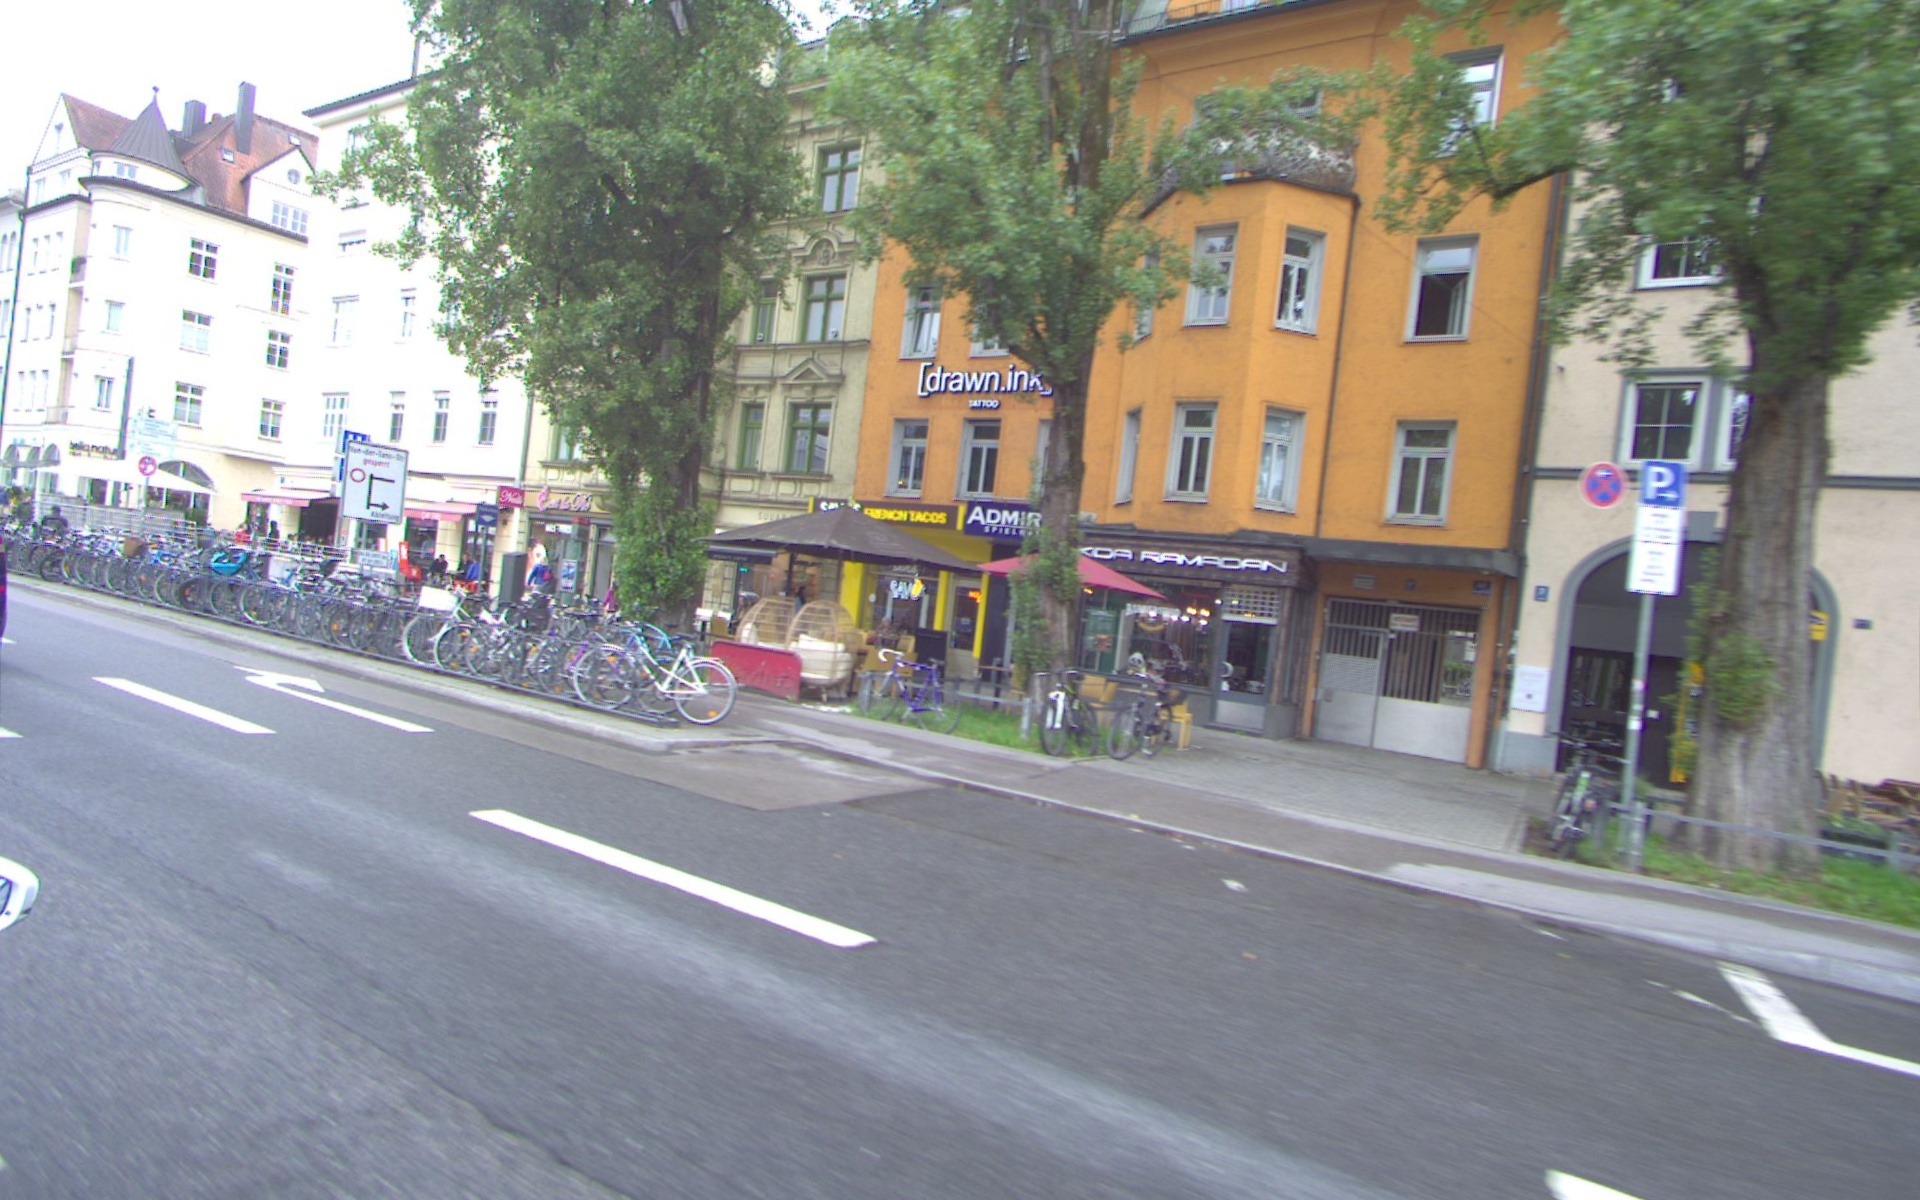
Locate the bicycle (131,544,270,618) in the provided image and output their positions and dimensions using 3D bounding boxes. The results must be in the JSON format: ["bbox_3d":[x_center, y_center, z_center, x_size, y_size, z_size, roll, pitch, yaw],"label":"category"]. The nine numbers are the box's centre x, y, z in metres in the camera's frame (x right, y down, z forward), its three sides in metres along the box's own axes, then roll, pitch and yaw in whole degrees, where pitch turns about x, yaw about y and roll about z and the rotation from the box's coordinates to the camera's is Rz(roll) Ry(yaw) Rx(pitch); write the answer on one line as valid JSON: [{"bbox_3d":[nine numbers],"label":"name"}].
[{"bbox_3d":[-13.168,-0.319,17.479,1.818,1.008,0.323,9,0,-22],"label":"bicycle"}]

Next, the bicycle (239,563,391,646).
[{"bbox_3d":[-9.772,0.078,15.295,1.817,1.008,0.323,9,0,-21],"label":"bicycle"}]

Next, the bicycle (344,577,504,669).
[{"bbox_3d":[-7.367,0.321,13.904,1.817,1.008,0.373,9,0,-21],"label":"bicycle"}]

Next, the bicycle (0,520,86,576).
[{"bbox_3d":[-19.762,-1.114,21.342,1.813,1.008,0.347,6,1,-15],"label":"bicycle"}]

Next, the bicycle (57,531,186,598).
[{"bbox_3d":[-16.071,-0.669,19.312,1.816,1.008,0.324,9,1,-19],"label":"bicycle"}]

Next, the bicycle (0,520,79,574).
[{"bbox_3d":[-20.296,-1.175,21.763,1.815,1.008,0.346,6,1,-19],"label":"bicycle"}]

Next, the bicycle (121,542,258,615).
[{"bbox_3d":[-13.636,-0.371,17.847,1.818,1.008,0.323,9,0,-22],"label":"bicycle"}]

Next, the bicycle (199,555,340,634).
[{"bbox_3d":[-11.152,-0.080,16.285,1.812,1.008,0.324,9,1,-11],"label":"bicycle"}]

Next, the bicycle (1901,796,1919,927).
[{"bbox_3d":[8.365,2.164,7.624,1.626,0.977,0.589,7,0,32],"label":"bicycle"}]

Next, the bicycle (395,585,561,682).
[{"bbox_3d":[-6.263,0.449,13.156,1.817,1.008,0.373,9,0,-20],"label":"bicycle"}]

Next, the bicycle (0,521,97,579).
[{"bbox_3d":[-19.181,-1.047,20.944,1.813,1.008,0.347,6,1,-15],"label":"bicycle"}]

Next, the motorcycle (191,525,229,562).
[{"bbox_3d":[-27.181,-2.043,36.454,1.545,1.171,0.487,7,0,32],"label":"motorcycle"}]

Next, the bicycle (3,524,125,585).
[{"bbox_3d":[-18.036,-0.911,20.277,1.812,1.008,0.347,6,1,-14],"label":"bicycle"}]

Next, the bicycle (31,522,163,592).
[{"bbox_3d":[-16.761,-0.828,19.579,1.819,1.126,0.464,7,1,-26],"label":"bicycle"}]

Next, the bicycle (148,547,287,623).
[{"bbox_3d":[-12.589,-0.252,17.092,1.815,1.008,0.324,9,1,-16],"label":"bicycle"}]

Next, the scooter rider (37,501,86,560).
[{"bbox_3d":[-23.389,-1.814,26.181,0.632,1.406,0.701,7,1,30],"label":"scooter rider"}]

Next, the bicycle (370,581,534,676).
[{"bbox_3d":[-6.776,0.389,13.485,1.814,1.008,0.374,9,1,-14],"label":"bicycle"}]

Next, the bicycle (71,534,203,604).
[{"bbox_3d":[-15.110,-0.565,18.499,1.813,1.008,0.324,9,1,-14],"label":"bicycle"}]

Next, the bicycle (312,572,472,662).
[{"bbox_3d":[-7.951,0.248,14.141,1.817,1.008,0.373,9,0,-21],"label":"bicycle"}]

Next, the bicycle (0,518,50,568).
[{"bbox_3d":[-21.559,-1.328,22.441,1.815,1.008,0.346,6,1,-19],"label":"bicycle"}]

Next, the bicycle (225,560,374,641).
[{"bbox_3d":[-10.265,0.023,15.692,1.820,1.008,0.323,9,0,-27],"label":"bicycle"}]

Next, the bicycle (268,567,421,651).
[{"bbox_3d":[-9.148,0.147,15.004,1.825,1.008,0.372,9,0,-35],"label":"bicycle"}]

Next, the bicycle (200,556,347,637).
[{"bbox_3d":[-10.855,-0.051,15.948,1.815,1.008,0.324,9,1,-16],"label":"bicycle"}]

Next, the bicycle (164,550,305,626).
[{"bbox_3d":[-12.070,-0.192,16.780,1.815,1.008,0.324,9,1,-16],"label":"bicycle"}]

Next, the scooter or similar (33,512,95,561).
[{"bbox_3d":[-23.319,-1.654,26.181,1.235,1.088,0.776,7,1,30],"label":"scooter or similar"}]

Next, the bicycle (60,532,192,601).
[{"bbox_3d":[-15.652,-0.626,18.914,1.816,1.008,0.324,9,1,-19],"label":"bicycle"}]

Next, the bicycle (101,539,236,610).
[{"bbox_3d":[-14.295,-0.450,18.209,1.818,1.008,0.323,9,0,-22],"label":"bicycle"}]

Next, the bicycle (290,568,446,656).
[{"bbox_3d":[-8.541,0.181,14.580,1.817,1.008,0.373,9,0,-21],"label":"bicycle"}]

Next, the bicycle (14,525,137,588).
[{"bbox_3d":[-17.417,-0.840,19.837,1.813,1.008,0.324,7,1,-14],"label":"bicycle"}]

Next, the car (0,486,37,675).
[{"bbox_3d":[-10.024,-0.395,8.954,3.497,1.608,1.705,7,-1,32],"label":"car"}]

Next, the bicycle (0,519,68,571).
[{"bbox_3d":[-20.840,-1.239,22.103,1.815,1.008,0.346,6,1,-19],"label":"bicycle"}]

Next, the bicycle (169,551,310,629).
[{"bbox_3d":[-11.760,-0.161,16.456,1.812,1.008,0.324,9,1,-12],"label":"bicycle"}]

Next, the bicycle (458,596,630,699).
[{"bbox_3d":[-5.089,0.585,12.392,1.813,1.008,0.374,9,1,-14],"label":"bicycle"}]

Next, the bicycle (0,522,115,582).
[{"bbox_3d":[-18.575,-0.973,20.645,1.815,1.008,0.346,6,1,-19],"label":"bicycle"}]
